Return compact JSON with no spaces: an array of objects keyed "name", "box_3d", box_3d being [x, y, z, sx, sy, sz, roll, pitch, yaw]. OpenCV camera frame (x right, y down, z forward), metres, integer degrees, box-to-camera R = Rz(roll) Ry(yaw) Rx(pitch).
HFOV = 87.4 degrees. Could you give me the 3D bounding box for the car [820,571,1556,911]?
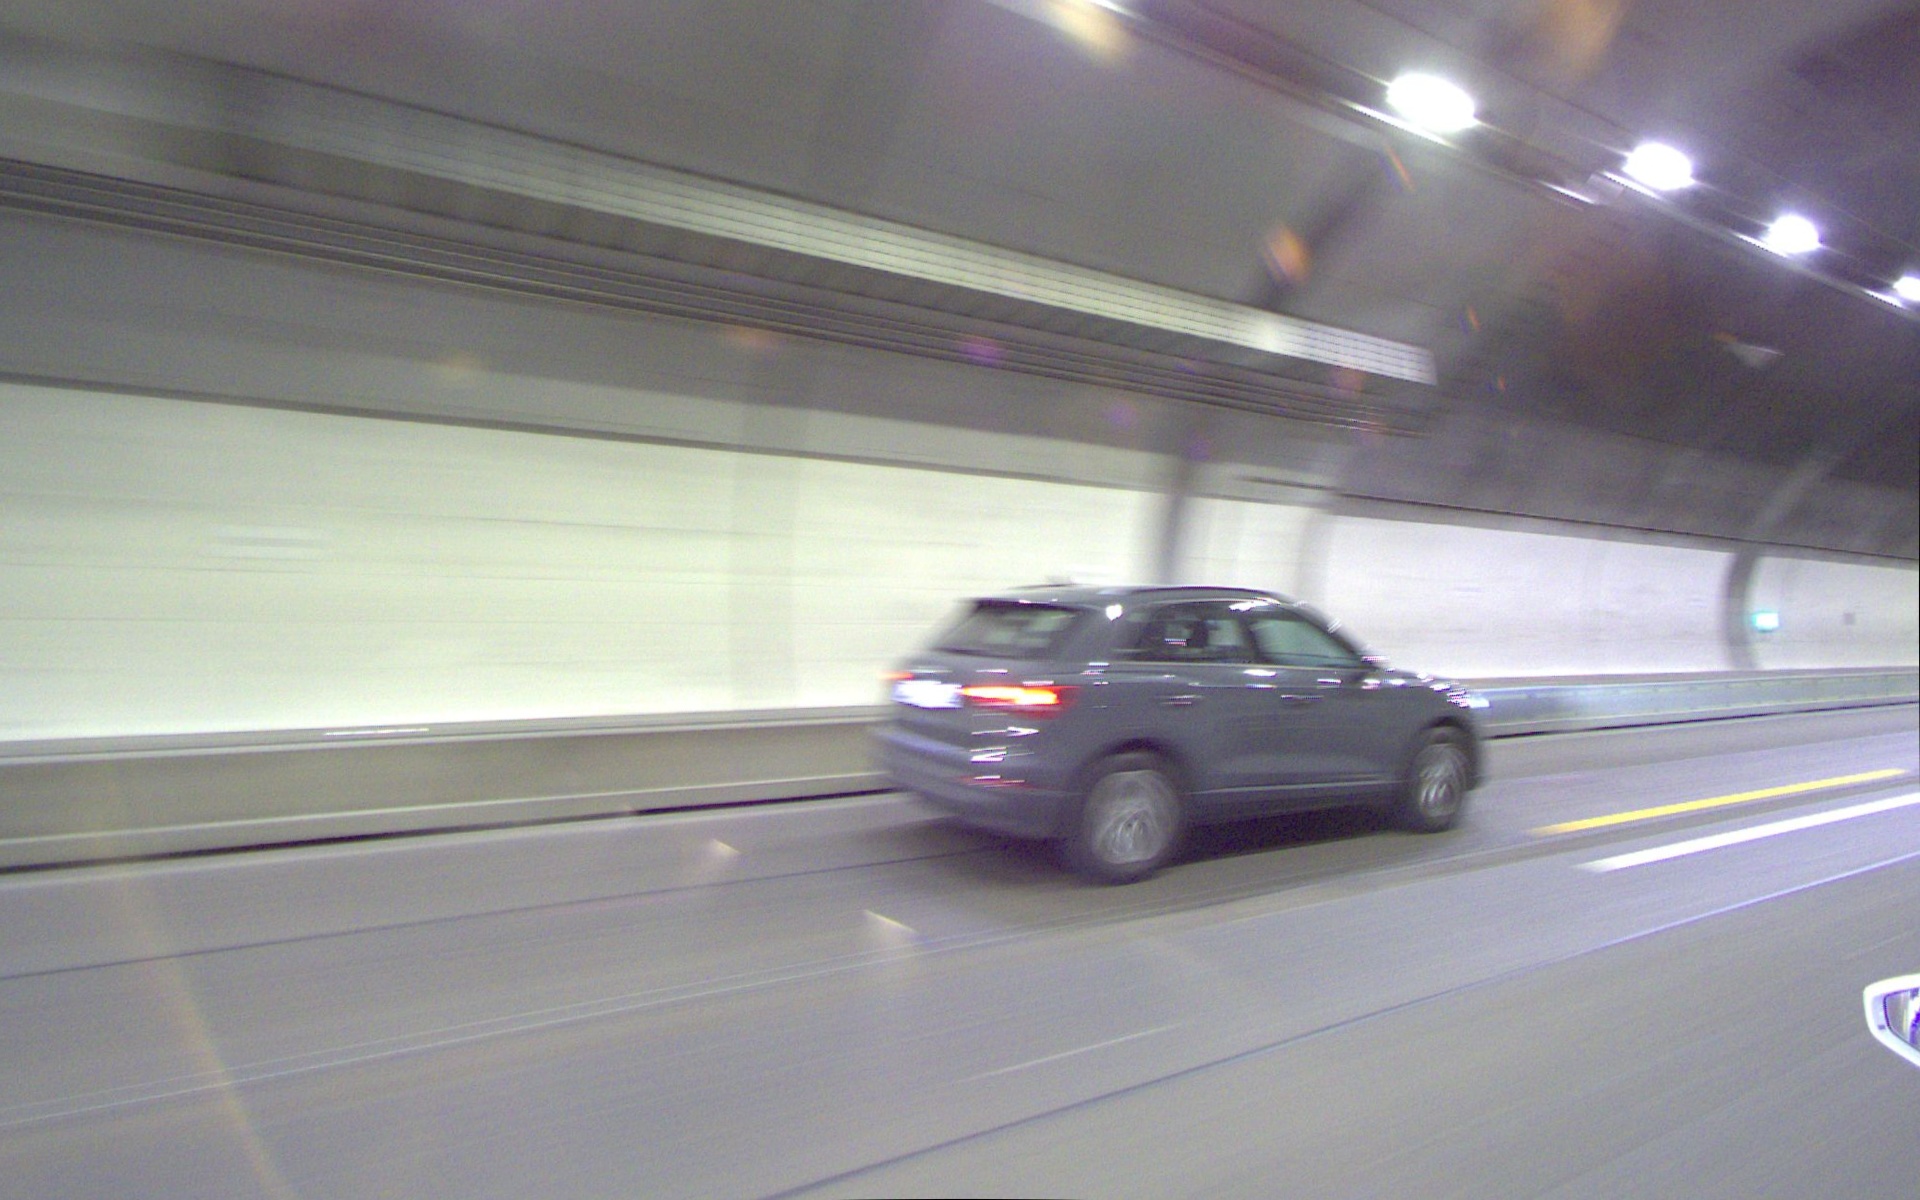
[{"name":"car","box_3d":[1.634,0.713,6.669,4.687,1.561,1.984,2,-1,-30]}]
